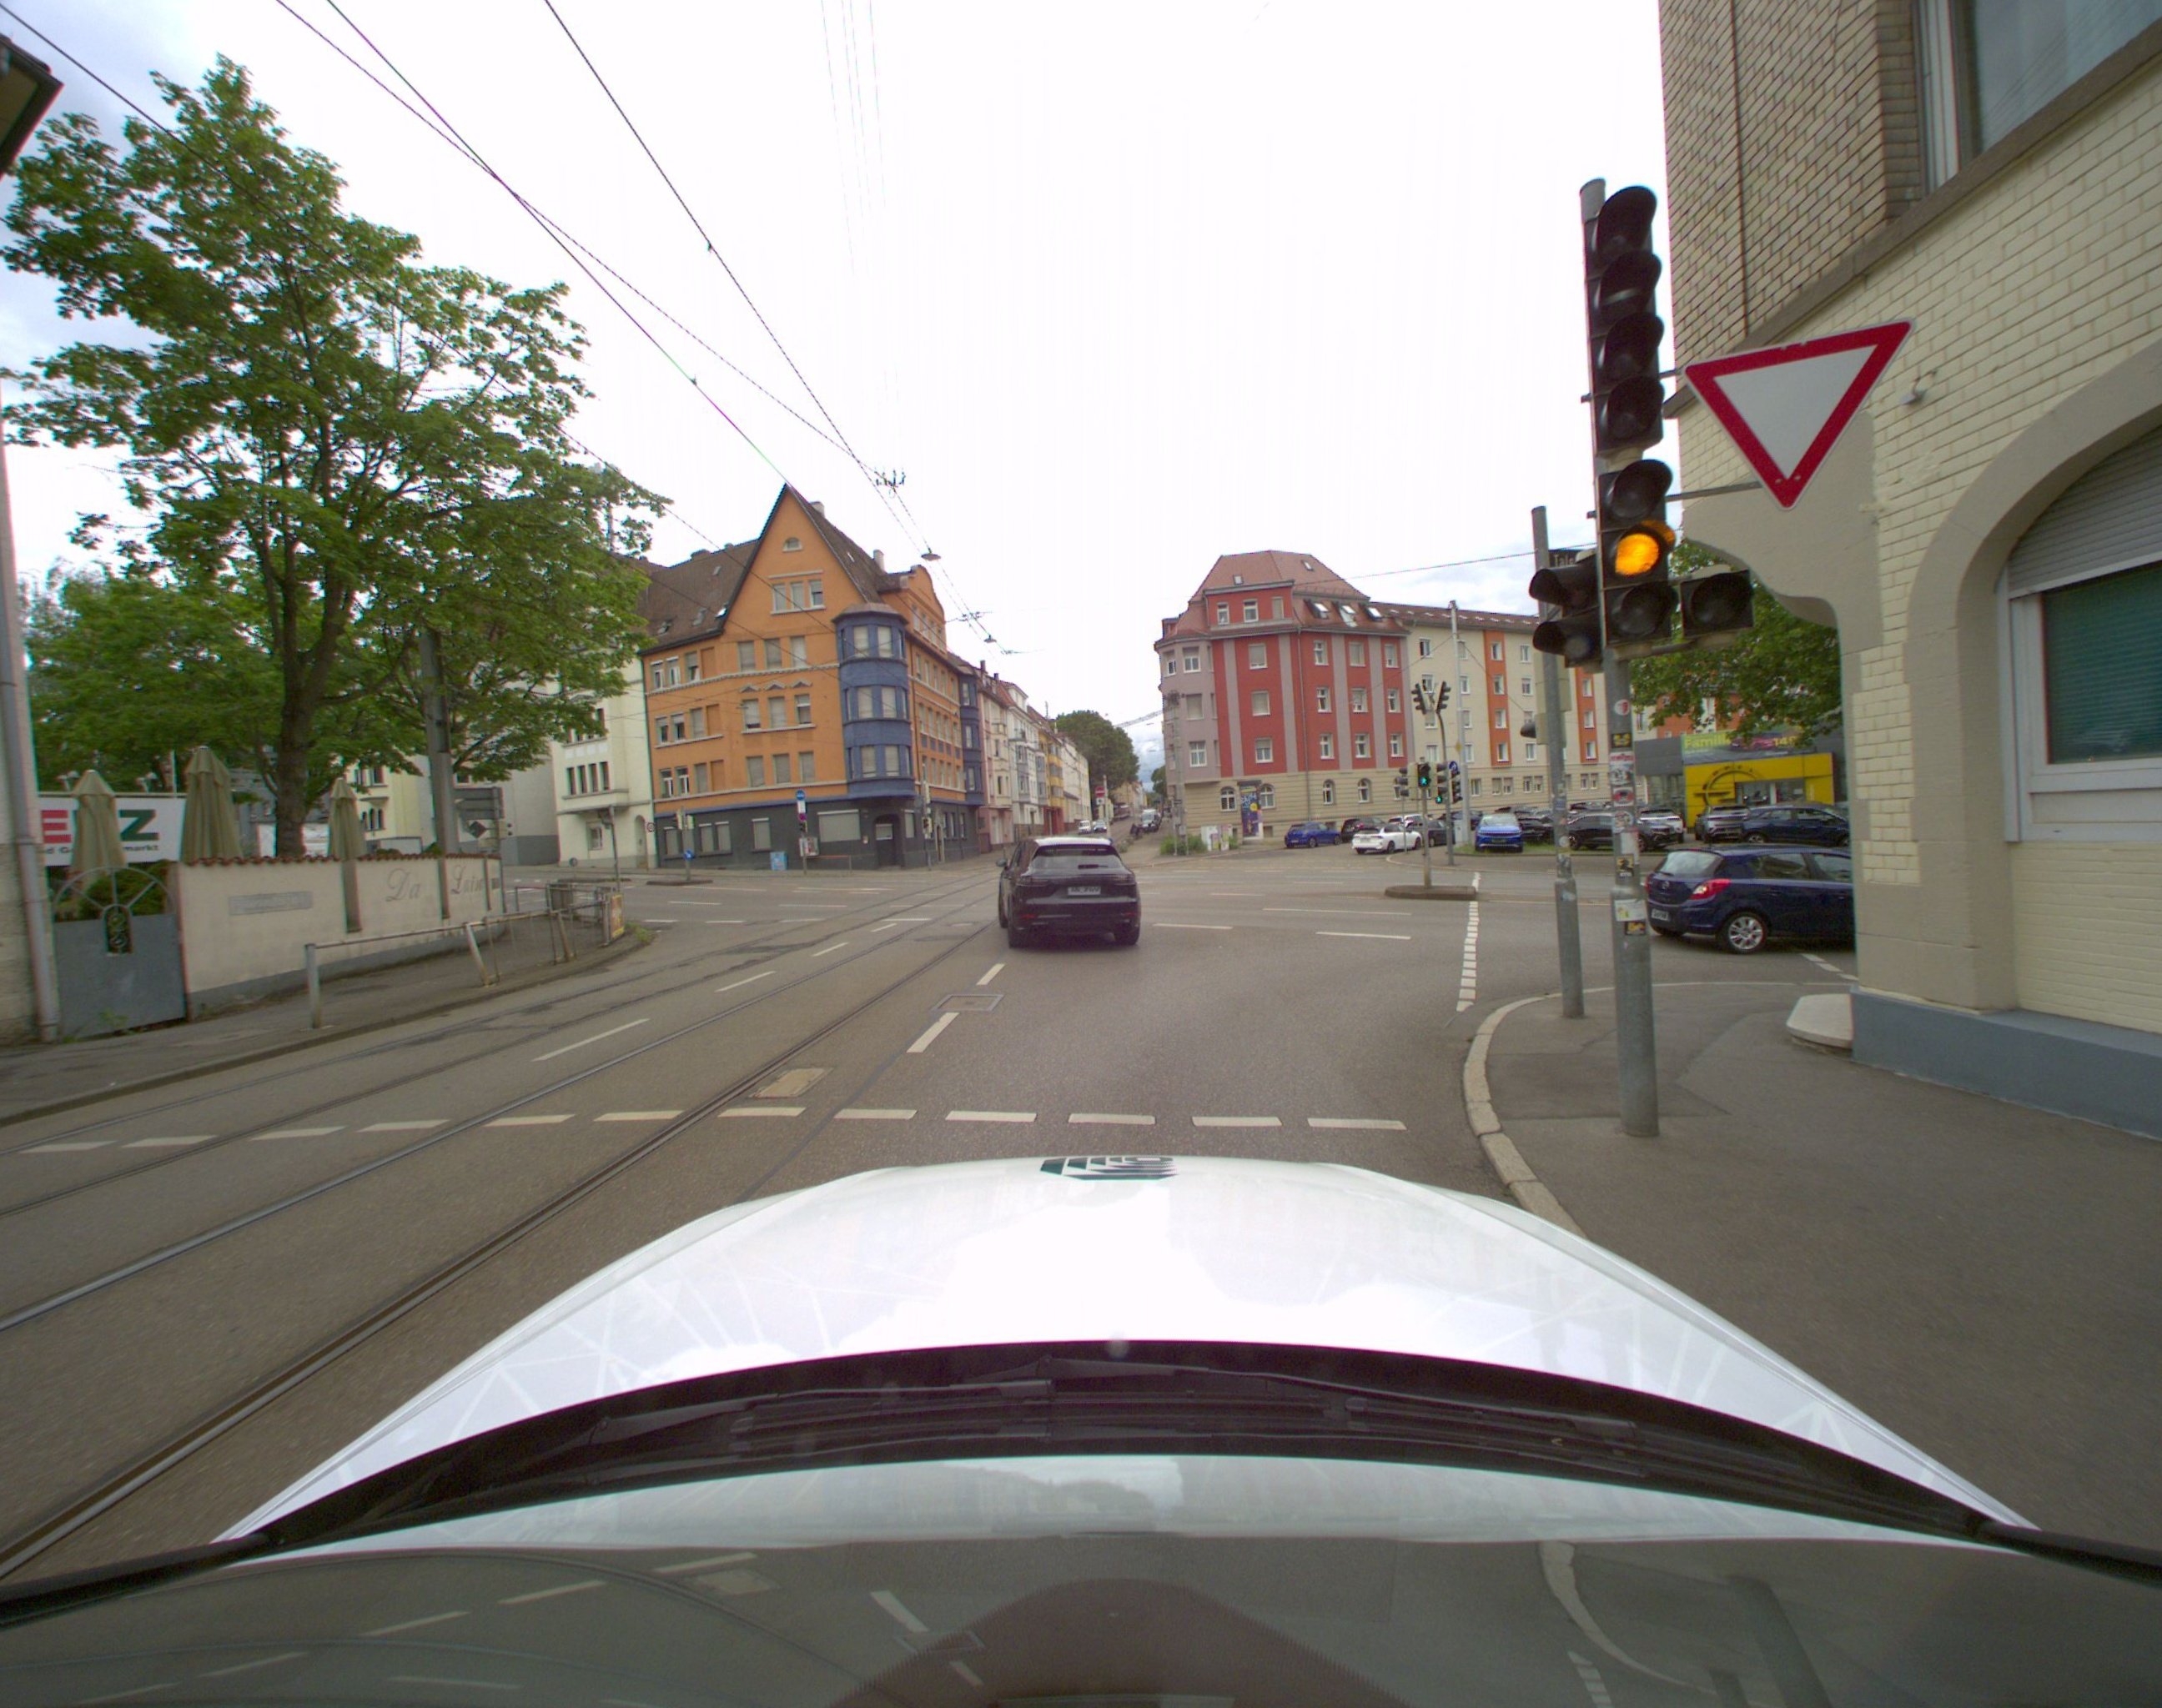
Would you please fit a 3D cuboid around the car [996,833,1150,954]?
[{"bbox_3d":[-0.318,0.497,13.641,2.023,1.641,4.344,-1,1,-8],"label":"car"}]

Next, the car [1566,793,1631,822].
[{"bbox_3d":[33.711,-3.052,53.044,4.154,1.644,1.901,-5,5,-29],"label":"car"}]

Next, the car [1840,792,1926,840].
[{"bbox_3d":[29.219,-1.407,29.785,1.839,1.549,4.027,0,4,39],"label":"car"}]

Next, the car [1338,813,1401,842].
[{"bbox_3d":[18.443,-1.712,52.004,4.162,1.534,1.897,-6,5,-38],"label":"car"}]

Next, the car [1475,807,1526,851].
[{"bbox_3d":[17.992,-1.105,34.865,1.806,1.576,4.288,0,6,29],"label":"car"}]

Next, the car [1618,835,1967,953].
[{"bbox_3d":[10.279,0.516,11.950,3.731,1.447,1.758,-2,2,-4],"label":"car"}]

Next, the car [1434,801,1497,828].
[{"bbox_3d":[27.184,-2.807,57.580,4.153,1.632,1.901,-5,5,-28],"label":"car"}]

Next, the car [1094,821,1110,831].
[{"bbox_3d":[2.759,-3.706,107.317,1.677,1.326,3.670,-1,3,7],"label":"car"}]

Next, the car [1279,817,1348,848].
[{"bbox_3d":[13.905,-1.296,48.606,4.163,1.534,1.896,-6,5,-39],"label":"car"}]

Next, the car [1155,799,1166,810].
[{"bbox_3d":[17.562,-10.829,179.001,2.255,2.183,4.780,-1,3,7],"label":"car"}]

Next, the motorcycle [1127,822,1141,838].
[{"bbox_3d":[4.878,-2.210,74.995,0.858,1.326,2.182,-9,3,-2],"label":"motorcycle"}]

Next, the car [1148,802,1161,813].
[{"bbox_3d":[14.945,-9.410,165.221,2.255,2.183,4.780,-1,3,7],"label":"car"}]

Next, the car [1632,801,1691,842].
[{"bbox_3d":[25.169,-1.421,35.277,1.839,1.549,4.027,0,4,39],"label":"car"}]

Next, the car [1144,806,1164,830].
[{"bbox_3d":[9.353,-4.634,104.269,2.255,2.889,4.780,-1,3,7],"label":"car"}]

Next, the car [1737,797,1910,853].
[{"bbox_3d":[25.921,-1.083,28.593,1.836,1.606,4.131,-10,8,-29],"label":"car"}]

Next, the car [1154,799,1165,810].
[{"bbox_3d":[17.797,-11.240,185.264,2.255,2.183,4.780,-1,3,7],"label":"car"}]

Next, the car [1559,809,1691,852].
[{"bbox_3d":[21.504,-0.982,32.339,1.835,1.476,3.964,-5,6,-29],"label":"car"}]

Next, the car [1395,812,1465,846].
[{"bbox_3d":[19.133,-1.397,44.567,4.164,1.534,1.896,-7,5,-41],"label":"car"}]

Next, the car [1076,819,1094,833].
[{"bbox_3d":[0.590,-3.801,110.669,1.983,1.692,4.009,-1,3,7],"label":"car"}]

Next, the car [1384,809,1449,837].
[{"bbox_3d":[22.626,-2.133,54.905,4.153,1.632,1.901,-5,5,-28],"label":"car"}]

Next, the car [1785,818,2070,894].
[{"bbox_3d":[18.894,-0.002,18.521,4.202,1.526,2.013,0,2,37],"label":"car"}]

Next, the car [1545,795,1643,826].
[{"bbox_3d":[27.330,-2.313,43.519,1.801,1.534,4.075,-6,5,-34],"label":"car"}]

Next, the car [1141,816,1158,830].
[{"bbox_3d":[8.325,-3.814,98.553,1.830,1.568,3.828,-1,3,7],"label":"car"}]

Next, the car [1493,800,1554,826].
[{"bbox_3d":[32.614,-3.028,59.972,4.149,1.632,1.903,-5,4,-25],"label":"car"}]

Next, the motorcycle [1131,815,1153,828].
[{"bbox_3d":[6.400,-3.387,85.447,2.172,1.326,0.699,-2,2,-4],"label":"motorcycle"}]

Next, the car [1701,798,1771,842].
[{"bbox_3d":[26.469,-1.415,33.039,1.839,1.549,4.027,-1,4,34],"label":"car"}]

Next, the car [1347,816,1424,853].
[{"bbox_3d":[15.283,-0.998,40.814,4.165,1.534,1.895,-7,5,-42],"label":"car"}]
